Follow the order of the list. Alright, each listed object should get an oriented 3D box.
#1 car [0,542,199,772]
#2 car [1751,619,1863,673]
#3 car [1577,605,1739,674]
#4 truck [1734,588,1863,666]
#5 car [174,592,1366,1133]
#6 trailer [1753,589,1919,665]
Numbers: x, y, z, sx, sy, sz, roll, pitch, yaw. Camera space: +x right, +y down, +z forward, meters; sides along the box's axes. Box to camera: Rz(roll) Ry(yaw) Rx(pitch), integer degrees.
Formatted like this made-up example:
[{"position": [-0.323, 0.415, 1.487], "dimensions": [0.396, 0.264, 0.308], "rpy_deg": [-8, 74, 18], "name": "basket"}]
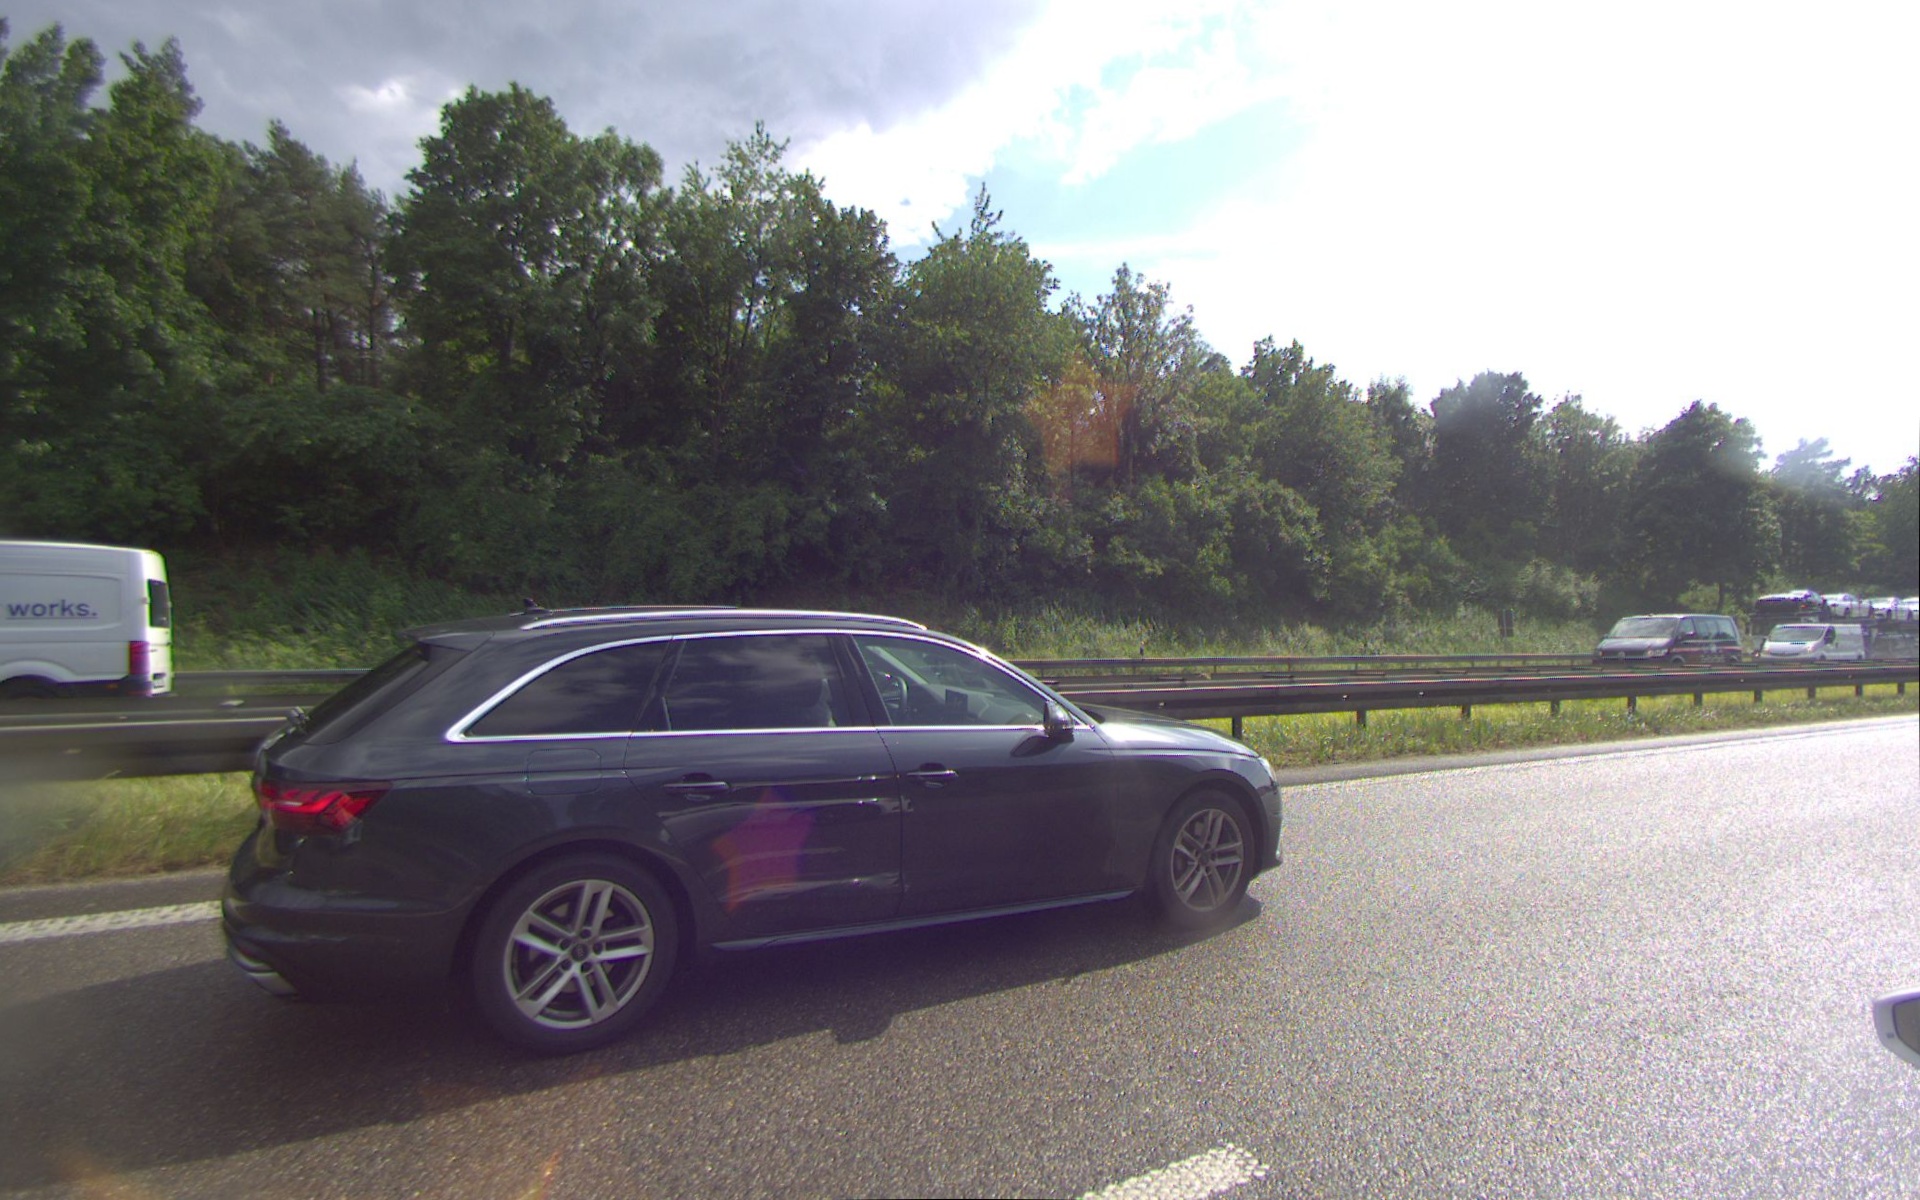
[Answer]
[{"position": [-14.164, 0.672, 12.794], "dimensions": [6.852, 2.908, 2.251], "rpy_deg": [2, 0, -31], "name": "car"}, {"position": [33.361, 1.782, 39.519], "dimensions": [4.984, 1.972, 1.859], "rpy_deg": [2, 0, -31], "name": "car"}, {"position": [18.693, 1.027, 26.866], "dimensions": [4.609, 1.685, 1.836], "rpy_deg": [2, 0, -31], "name": "car"}, {"position": [44.639, 1.421, 53.444], "dimensions": [6.781, 3.883, 2.977], "rpy_deg": [1, 0, -29], "name": "truck"}, {"position": [-0.453, 0.749, 4.665], "dimensions": [4.782, 1.437, 1.785], "rpy_deg": [2, 0, -30], "name": "car"}, {"position": [51.119, 1.598, 57.054], "dimensions": [17.734, 3.883, 2.977], "rpy_deg": [2, 0, -29], "name": "trailer"}]
